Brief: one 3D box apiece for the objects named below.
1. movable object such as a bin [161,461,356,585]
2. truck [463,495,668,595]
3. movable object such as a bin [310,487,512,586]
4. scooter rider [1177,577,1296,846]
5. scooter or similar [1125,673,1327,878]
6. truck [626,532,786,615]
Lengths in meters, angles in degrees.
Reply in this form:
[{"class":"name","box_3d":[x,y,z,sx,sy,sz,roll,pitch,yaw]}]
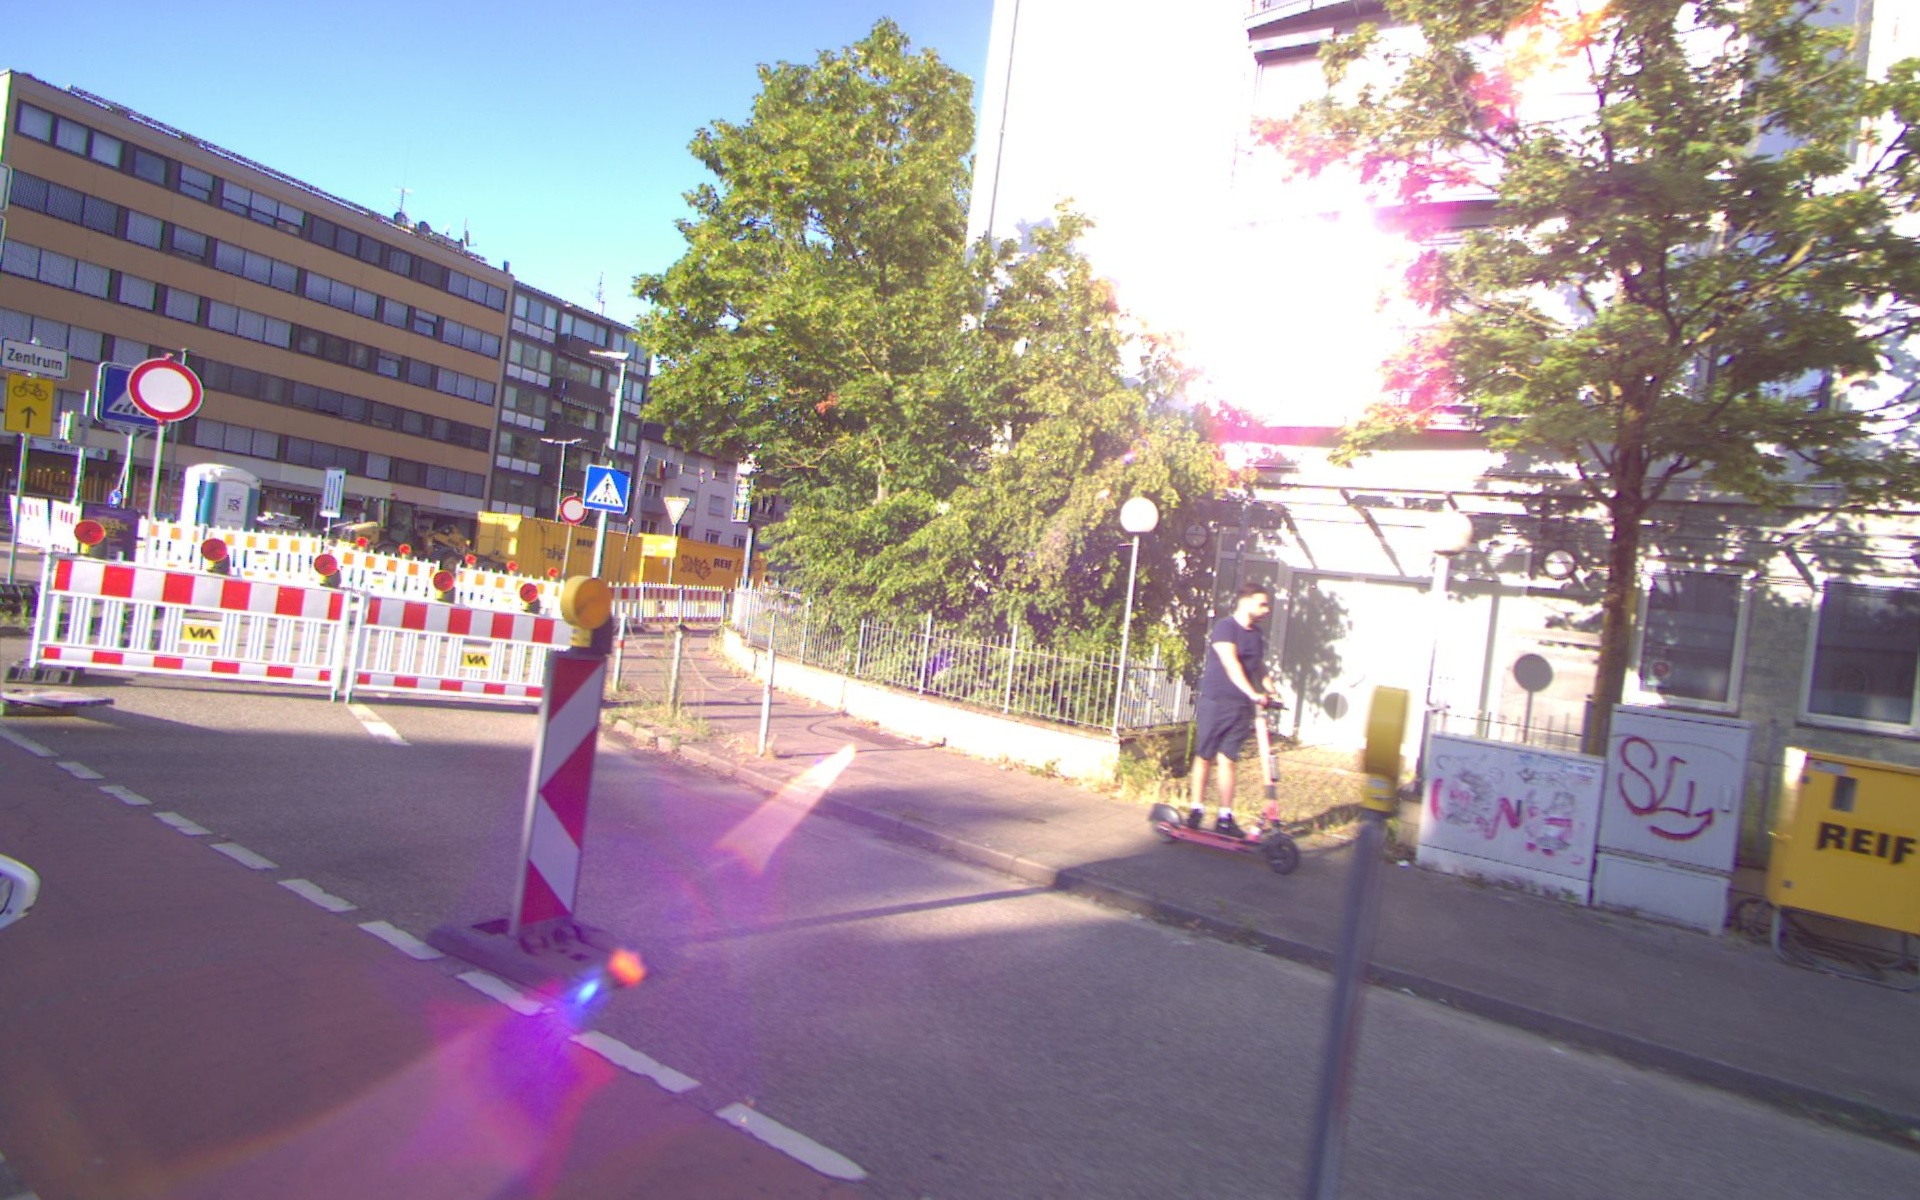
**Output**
[{"class":"movable object such as a bin","box_3d":[-16.668,-1.766,24.038,1.503,2.412,3.333,7,0,31]},{"class":"truck","box_3d":[-15.550,-2.080,40.332,2.759,2.933,7.347,7,-1,29]},{"class":"movable object such as a bin","box_3d":[-18.583,-2.087,34.361,2.505,2.520,5.359,7,-1,29]},{"class":"scooter rider","box_3d":[2.008,0.788,7.285,0.478,1.812,0.615,7,0,31]},{"class":"scooter or similar","box_3d":[1.885,1.215,7.213,1.230,1.209,0.330,7,0,33]},{"class":"truck","box_3d":[-11.745,-1.150,47.269,2.760,2.933,7.346,7,-1,30]}]
